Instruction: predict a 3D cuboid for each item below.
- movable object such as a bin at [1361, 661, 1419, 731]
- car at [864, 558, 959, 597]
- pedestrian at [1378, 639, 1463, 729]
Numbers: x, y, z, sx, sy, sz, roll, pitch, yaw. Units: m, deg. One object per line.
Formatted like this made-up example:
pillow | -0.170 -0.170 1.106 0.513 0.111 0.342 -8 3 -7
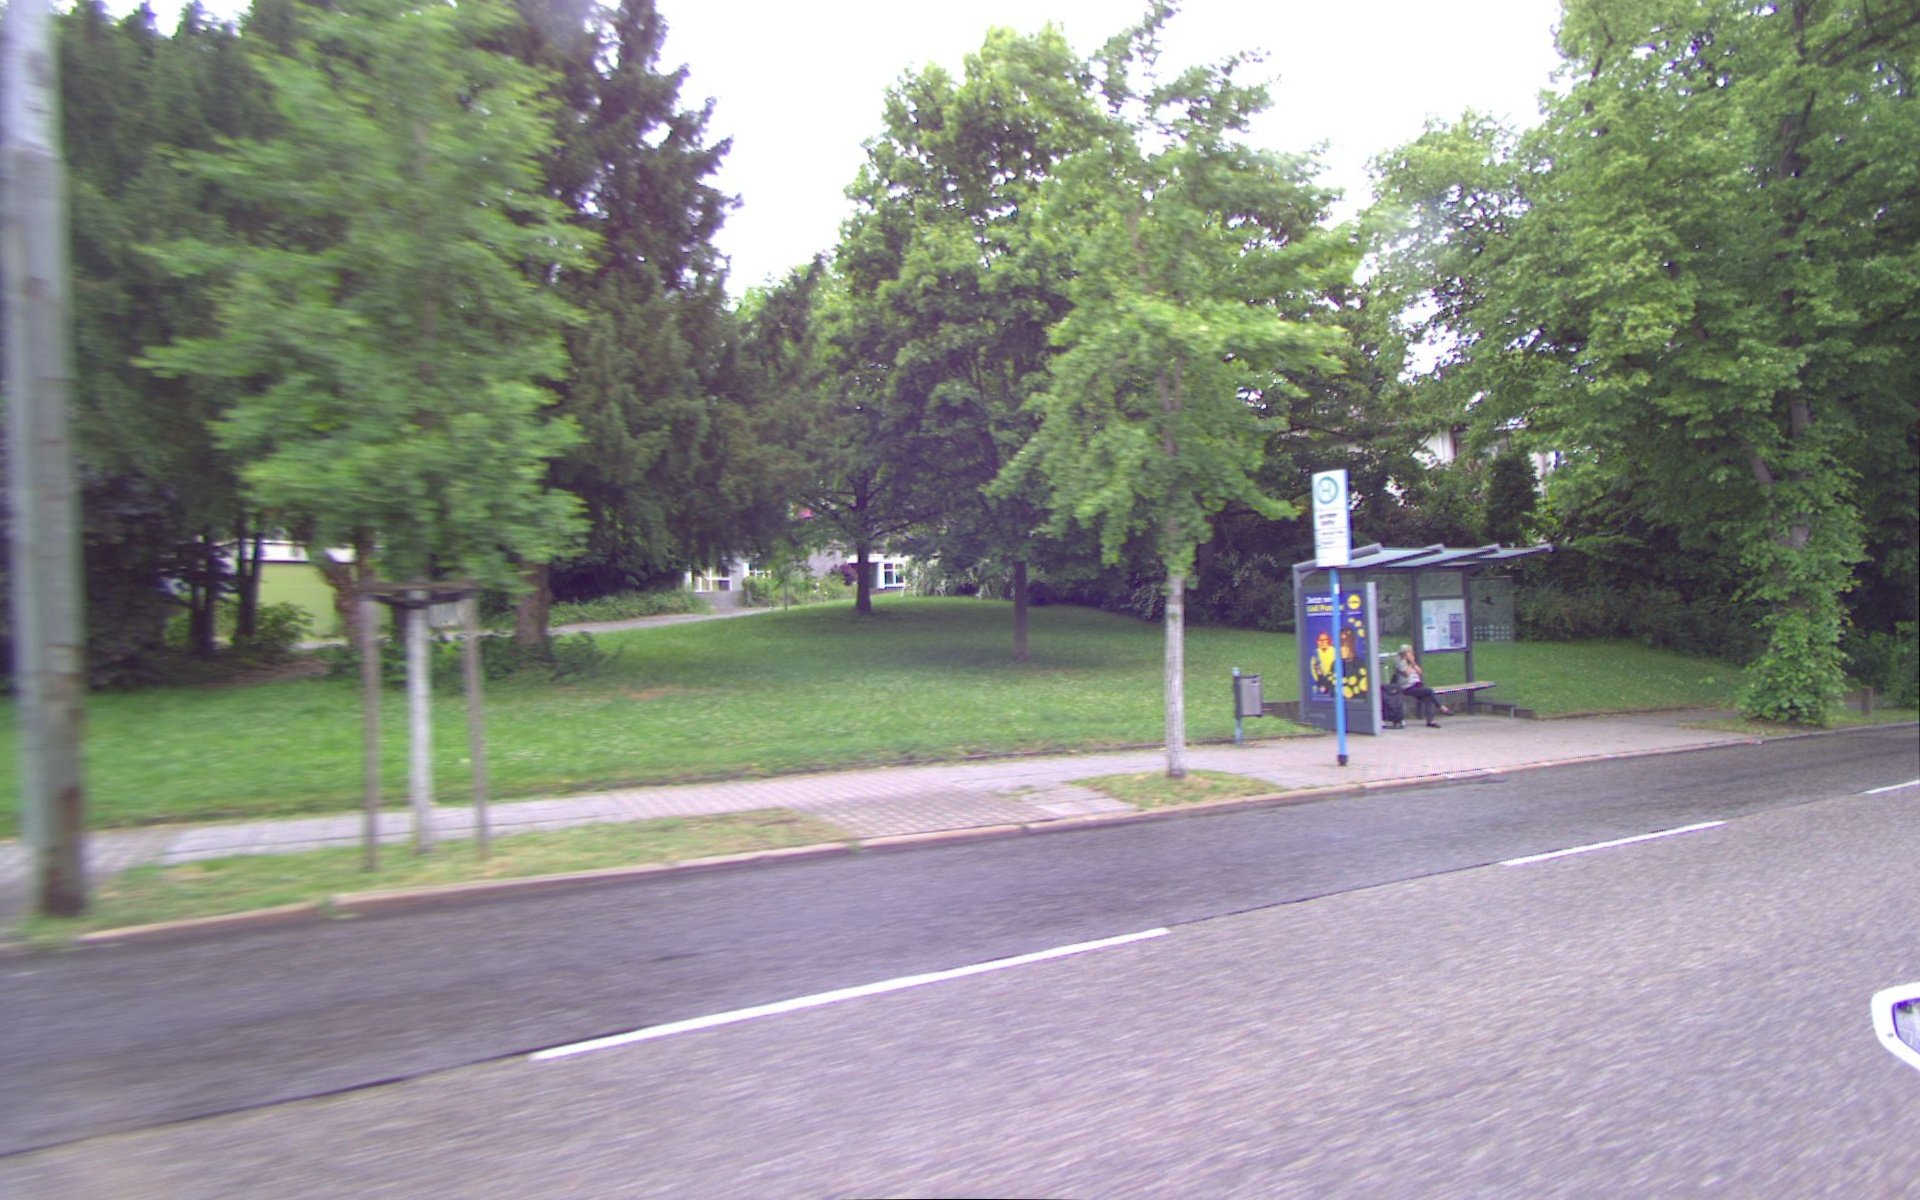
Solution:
movable object such as a bin | 7.151 1.584 16.723 0.492 1.057 0.760 0 1 -23
car | -2.159 -0.968 44.301 3.848 1.505 1.928 -1 -2 38
pedestrian | 7.804 1.397 17.042 0.905 1.422 0.935 0 1 -23
